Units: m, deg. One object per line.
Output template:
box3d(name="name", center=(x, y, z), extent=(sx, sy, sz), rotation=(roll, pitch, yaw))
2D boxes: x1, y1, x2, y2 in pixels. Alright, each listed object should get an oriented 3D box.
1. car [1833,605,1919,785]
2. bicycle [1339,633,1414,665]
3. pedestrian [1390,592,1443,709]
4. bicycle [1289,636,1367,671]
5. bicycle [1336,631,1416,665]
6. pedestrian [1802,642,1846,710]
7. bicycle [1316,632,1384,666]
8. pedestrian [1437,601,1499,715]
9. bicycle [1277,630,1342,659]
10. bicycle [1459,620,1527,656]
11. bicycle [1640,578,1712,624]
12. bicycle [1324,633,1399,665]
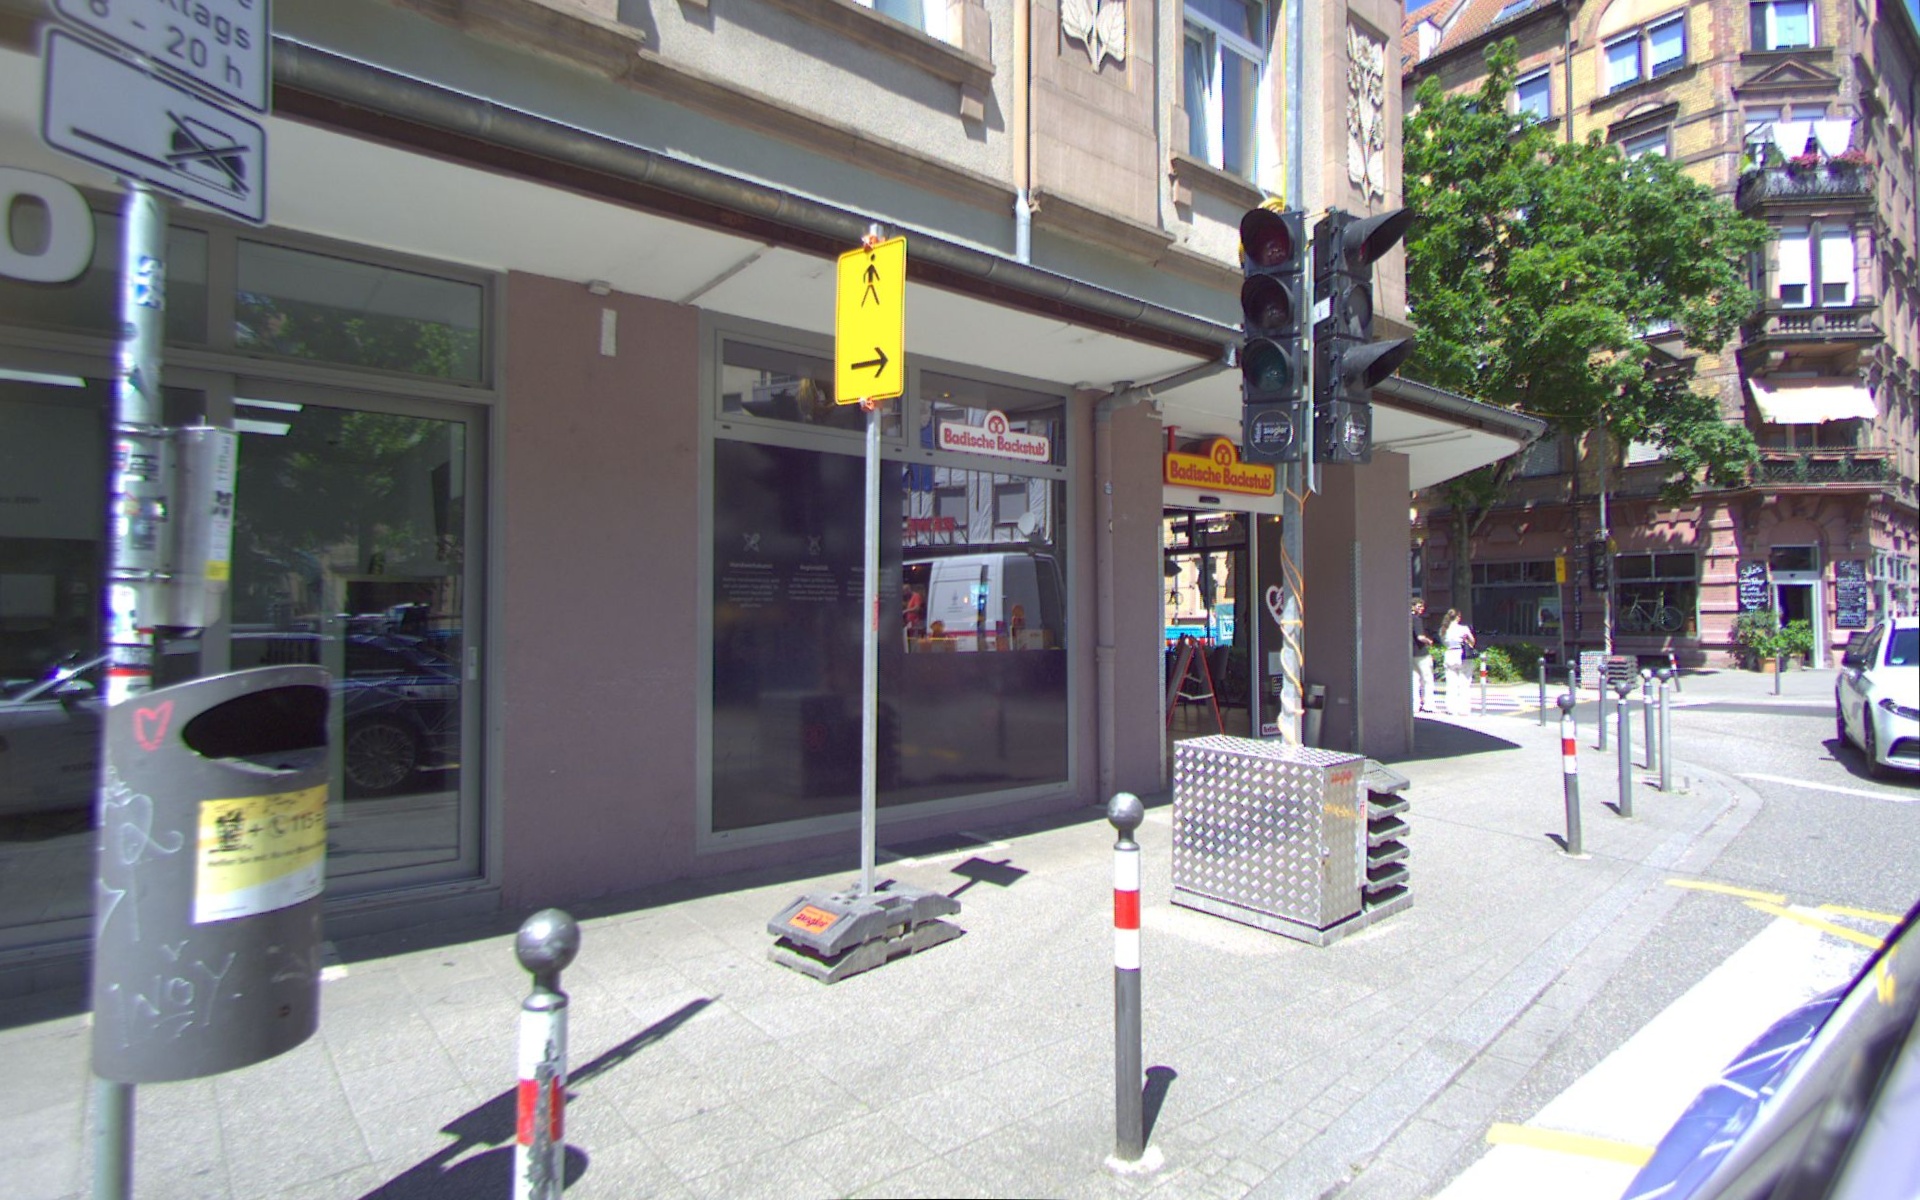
box3d(name="car", center=(9.489, 0.760, 9.395), extent=(1.805, 1.444, 4.183), rotation=(-3, -2, 38))
box3d(name="bicycle", center=(12.133, 1.414, 29.525), extent=(0.499, 0.883, 2.074), rotation=(1, -2, -34))
box3d(name="pedestrian", center=(7.178, 0.793, 15.909), extent=(0.575, 1.792, 0.464), rotation=(1, -3, 44))
box3d(name="bicycle", center=(9.880, 1.424, 27.264), extent=(0.499, 0.883, 2.074), rotation=(1, -2, -34))
box3d(name="bicycle", center=(11.381, 1.305, 27.749), extent=(0.499, 0.883, 2.074), rotation=(1, -2, -34))
box3d(name="pedestrian", center=(22.691, 1.985, 26.582), extent=(0.711, 1.740, 0.496), rotation=(0, 0, 6))
box3d(name="bicycle", center=(10.622, 1.322, 27.607), extent=(0.499, 0.883, 1.745), rotation=(1, -2, -34))
box3d(name="pedestrian", center=(7.730, 0.870, 15.402), extent=(0.701, 1.667, 0.416), rotation=(1, -3, 44))
box3d(name="bicycle", center=(11.087, 1.395, 32.166), extent=(0.499, 0.883, 2.074), rotation=(1, -2, -34))
box3d(name="bicycle", center=(15.581, 1.107, 29.599), extent=(0.513, 1.021, 1.695), rotation=(1, -2, -38))
box3d(name="bicycle", center=(18.624, 0.048, 26.345), extent=(0.500, 1.167, 1.426), rotation=(1, -2, -36))
box3d(name="bicycle", center=(11.546, 1.398, 29.140), extent=(0.499, 0.883, 2.074), rotation=(1, -2, -34))
